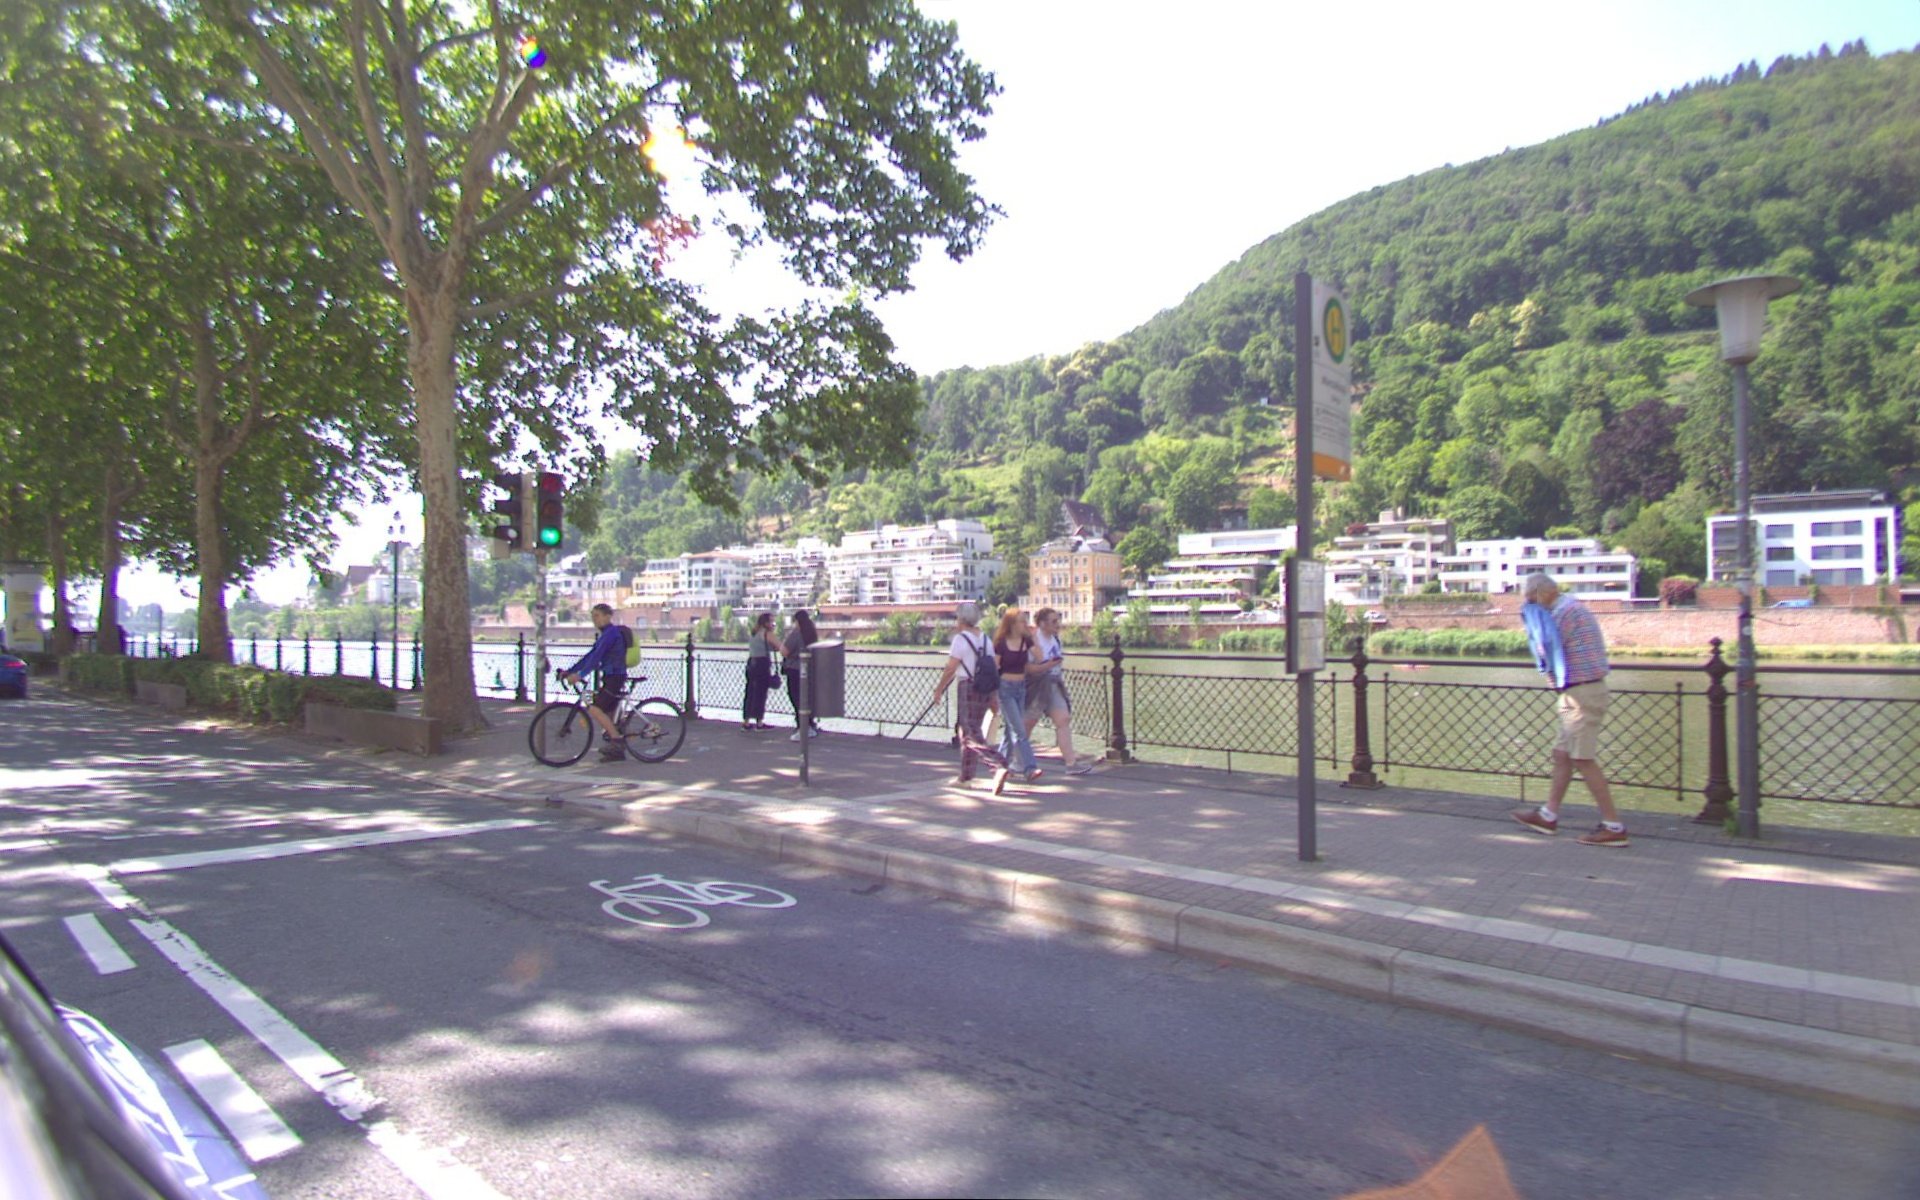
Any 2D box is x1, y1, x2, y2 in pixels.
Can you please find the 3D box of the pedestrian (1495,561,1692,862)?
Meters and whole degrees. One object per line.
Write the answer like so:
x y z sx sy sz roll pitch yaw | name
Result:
4.109 0.672 6.576 0.971 1.777 0.704 -1 -2 40 | pedestrian

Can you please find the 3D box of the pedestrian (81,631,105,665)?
-34.546 1.905 40.314 0.552 1.330 0.625 -2 -2 40 | pedestrian

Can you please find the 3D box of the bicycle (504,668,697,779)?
-3.834 1.304 10.918 1.801 0.932 0.744 -5 0 -9 | bicycle

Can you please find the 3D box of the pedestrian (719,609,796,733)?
-2.780 0.952 13.886 0.910 1.620 0.544 -1 0 40 | pedestrian

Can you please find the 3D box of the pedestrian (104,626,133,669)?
-33.928 1.903 40.799 0.709 1.696 0.783 -1 -2 40 | pedestrian

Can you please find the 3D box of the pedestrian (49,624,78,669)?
-35.535 1.843 40.118 0.729 1.743 0.750 -1 -2 40 | pedestrian

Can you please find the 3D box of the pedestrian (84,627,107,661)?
-34.360 1.755 40.224 0.552 1.330 0.625 -1 -2 40 | pedestrian

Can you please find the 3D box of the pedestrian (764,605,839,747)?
-1.991 0.929 12.739 0.695 1.713 0.612 -1 -1 40 | pedestrian

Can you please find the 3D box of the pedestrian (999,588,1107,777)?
0.896 0.782 9.802 0.792 1.727 0.646 -4 -5 40 | pedestrian

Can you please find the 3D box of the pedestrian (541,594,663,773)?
-3.858 0.877 10.991 1.009 1.786 0.770 -5 -1 -9 | pedestrian

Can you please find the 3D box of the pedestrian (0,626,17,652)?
-64.721 2.634 68.817 0.729 1.719 0.750 -1 -2 40 | pedestrian

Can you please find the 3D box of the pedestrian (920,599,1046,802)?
0.184 0.820 8.652 0.991 1.630 0.488 -1 -2 40 | pedestrian

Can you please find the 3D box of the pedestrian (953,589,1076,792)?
0.497 0.786 9.223 0.782 1.726 0.827 -1 -2 40 | pedestrian

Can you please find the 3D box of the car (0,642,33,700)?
-23.286 1.601 23.629 4.259 1.279 1.822 -1 -5 40 | car

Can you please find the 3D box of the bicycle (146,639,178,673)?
-28.942 2.006 36.698 1.843 1.161 0.557 -1 0 40 | bicycle
